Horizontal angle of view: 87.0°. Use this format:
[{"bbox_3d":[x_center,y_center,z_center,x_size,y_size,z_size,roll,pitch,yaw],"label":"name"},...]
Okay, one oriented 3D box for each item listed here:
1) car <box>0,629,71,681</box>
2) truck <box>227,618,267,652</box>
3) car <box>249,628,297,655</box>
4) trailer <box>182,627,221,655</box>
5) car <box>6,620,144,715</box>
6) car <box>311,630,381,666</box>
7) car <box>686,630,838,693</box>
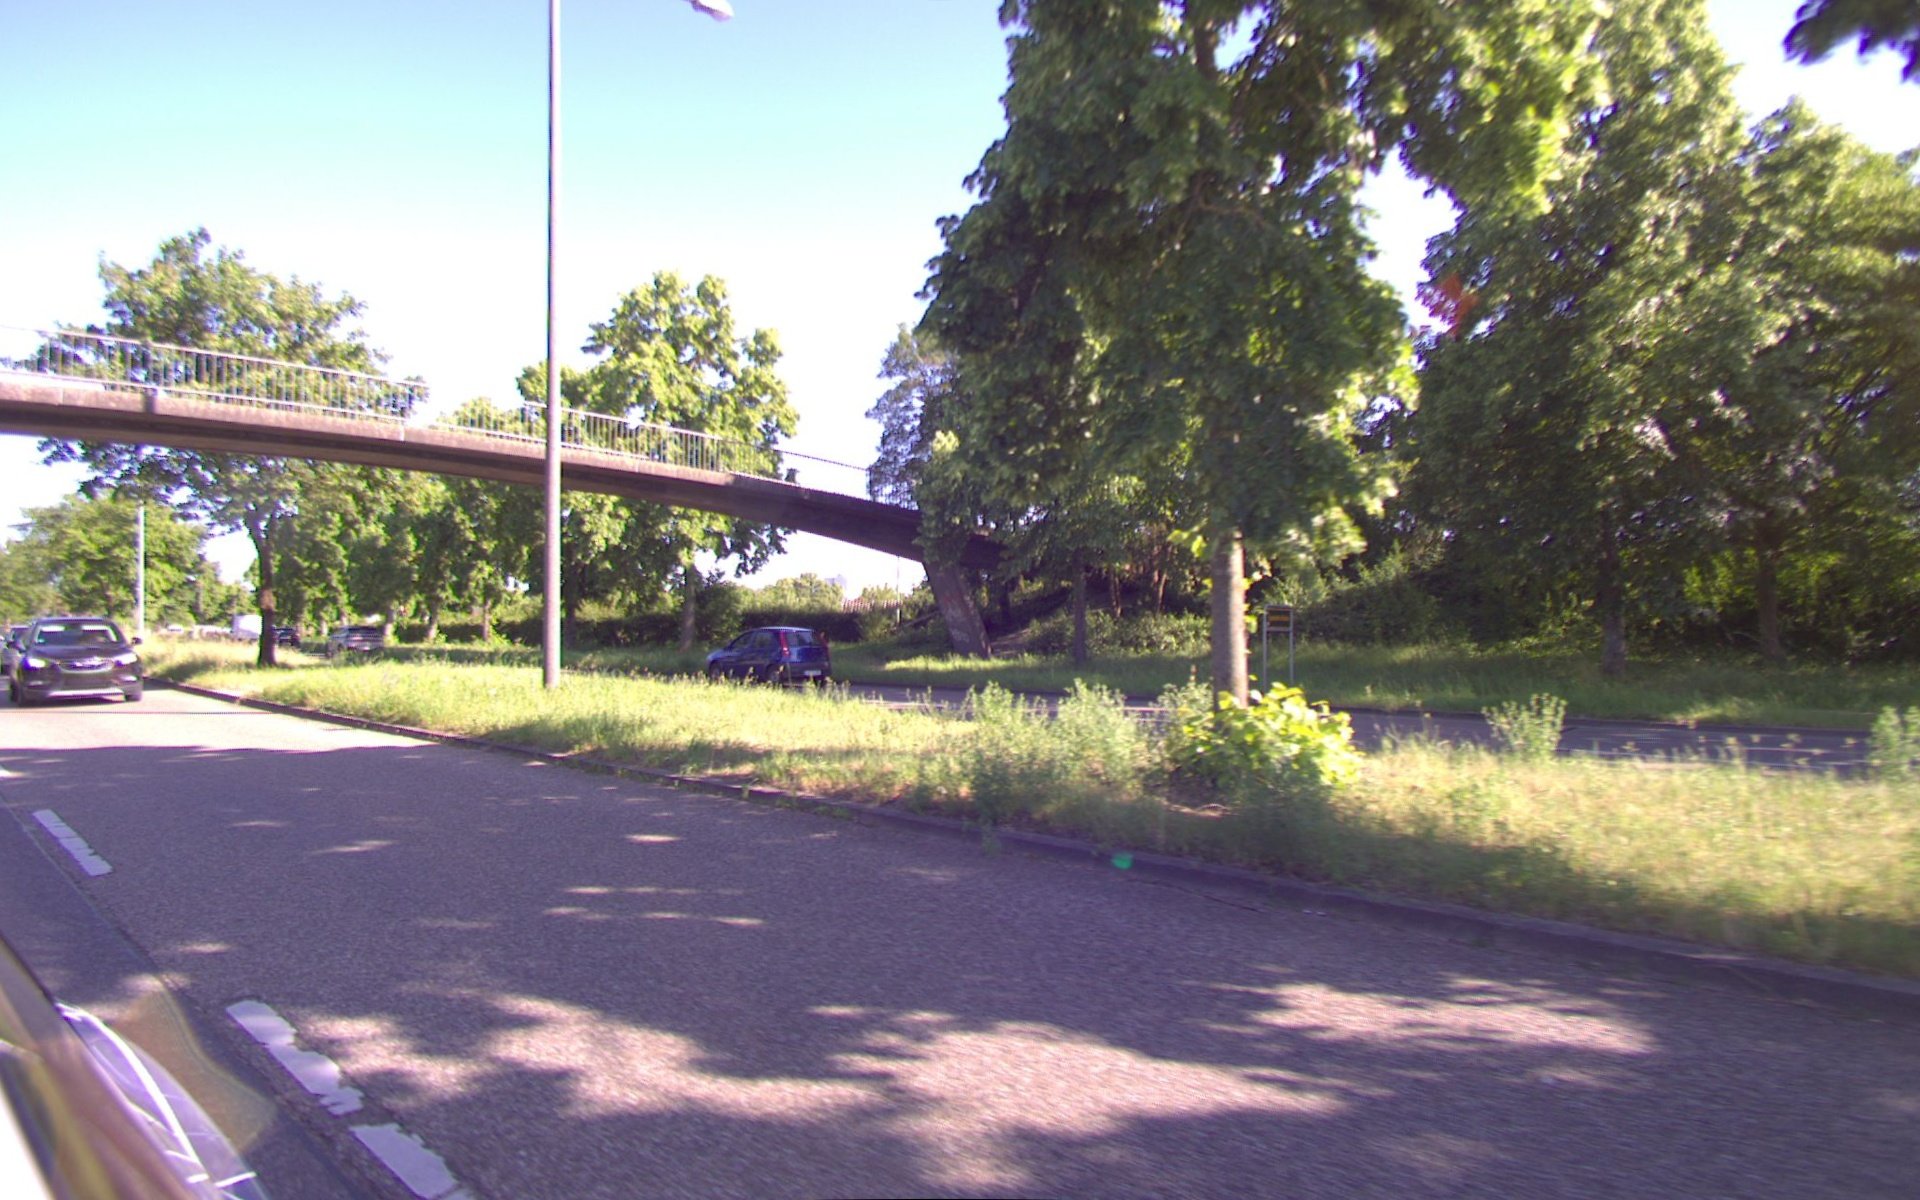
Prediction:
[{"bbox_3d":[-30.274,1.770,33.073,1.796,1.574,4.653,0,-2,-41],"label":"car"},{"bbox_3d":[-56.473,2.811,80.140,2.144,2.532,5.752,3,-4,-39],"label":"truck"},{"bbox_3d":[-43.749,2.620,64.412,4.580,1.632,1.730,-3,-2,45],"label":"car"},{"bbox_3d":[-53.107,2.861,70.853,4.284,1.925,1.545,-3,-2,45],"label":"trailer"},{"bbox_3d":[-17.357,1.217,19.781,1.785,1.627,4.517,0,-1,-44],"label":"car"},{"bbox_3d":[-30.326,2.355,49.935,4.901,1.659,1.712,-2,-4,44],"label":"car"},{"bbox_3d":[-5.024,1.505,25.379,4.255,1.442,1.523,-2,-3,43],"label":"car"}]
